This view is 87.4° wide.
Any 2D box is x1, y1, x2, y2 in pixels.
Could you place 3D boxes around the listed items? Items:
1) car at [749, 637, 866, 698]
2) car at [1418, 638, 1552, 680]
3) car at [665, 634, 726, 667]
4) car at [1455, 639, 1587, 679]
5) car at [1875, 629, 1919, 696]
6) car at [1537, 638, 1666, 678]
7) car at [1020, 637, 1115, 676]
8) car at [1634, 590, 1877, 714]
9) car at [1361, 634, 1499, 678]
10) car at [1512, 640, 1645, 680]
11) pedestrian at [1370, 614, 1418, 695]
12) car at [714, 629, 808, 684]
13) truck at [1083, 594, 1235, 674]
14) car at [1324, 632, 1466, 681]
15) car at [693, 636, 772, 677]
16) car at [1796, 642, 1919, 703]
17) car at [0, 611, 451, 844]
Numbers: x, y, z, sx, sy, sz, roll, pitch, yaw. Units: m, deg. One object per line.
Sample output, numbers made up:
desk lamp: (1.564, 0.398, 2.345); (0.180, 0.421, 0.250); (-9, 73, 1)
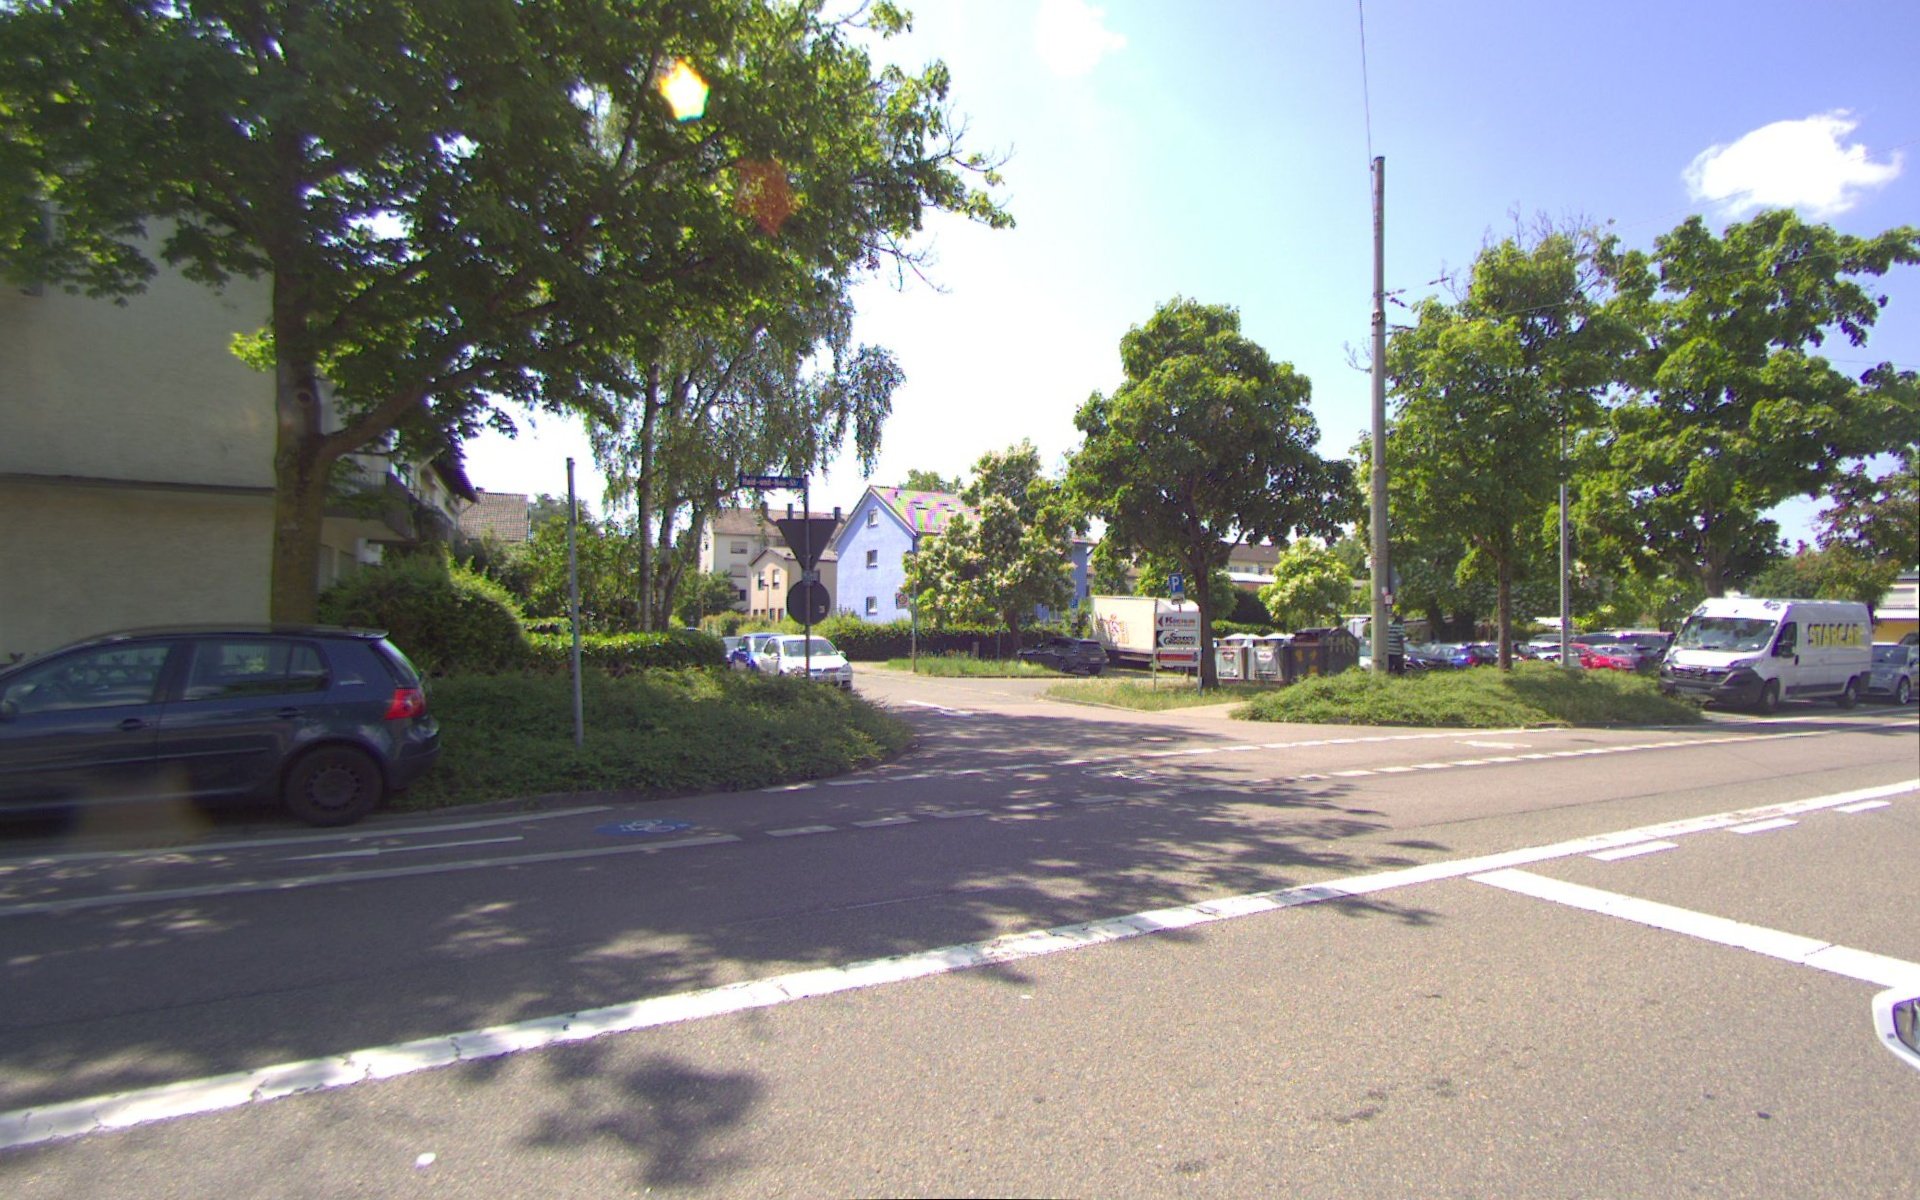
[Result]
car: (-3.947, 1.658, 25.496); (1.788, 1.376, 3.973); (1, -2, -27)
car: (18.749, 2.074, 36.037); (1.785, 1.357, 3.967); (2, -2, -31)
car: (-11.516, 2.173, 43.589); (1.788, 1.334, 3.973); (1, -2, -27)
car: (20.896, 2.153, 37.532); (1.785, 1.357, 3.967); (2, -2, -31)
car: (29.241, 1.838, 29.856); (4.221, 1.920, 1.860); (2, -2, -31)
car: (25.399, 2.277, 39.895); (1.784, 1.461, 3.967); (2, -2, -31)
car: (4.251, 2.231, 40.320); (1.753, 1.417, 3.966); (2, -2, -32)
car: (18.514, 1.145, 23.304); (6.117, 2.520, 2.147); (2, 2, -29)
car: (15.897, 1.867, 34.141); (1.785, 1.357, 3.967); (2, -2, -31)
car: (23.458, 2.247, 38.219); (1.785, 1.357, 3.967); (2, -2, -31)
pedestrian: (10.223, 1.267, 23.642); (0.960, 1.847, 0.793); (0, -2, 31)
car: (-6.107, 1.657, 30.496); (1.788, 1.536, 3.973); (1, -2, -27)
truck: (8.589, 1.475, 44.246); (2.307, 3.270, 7.147); (2, -2, -32)
car: (14.035, 1.801, 32.601); (1.785, 1.461, 3.967); (2, -2, -31)
car: (-8.077, 1.963, 35.465); (1.788, 1.334, 3.973); (1, -2, -27)
car: (23.938, 1.850, 26.266); (4.292, 1.456, 1.860); (2, -2, -31)
car: (-6.256, 0.876, 7.785); (4.001, 1.500, 1.765); (2, 0, -31)
